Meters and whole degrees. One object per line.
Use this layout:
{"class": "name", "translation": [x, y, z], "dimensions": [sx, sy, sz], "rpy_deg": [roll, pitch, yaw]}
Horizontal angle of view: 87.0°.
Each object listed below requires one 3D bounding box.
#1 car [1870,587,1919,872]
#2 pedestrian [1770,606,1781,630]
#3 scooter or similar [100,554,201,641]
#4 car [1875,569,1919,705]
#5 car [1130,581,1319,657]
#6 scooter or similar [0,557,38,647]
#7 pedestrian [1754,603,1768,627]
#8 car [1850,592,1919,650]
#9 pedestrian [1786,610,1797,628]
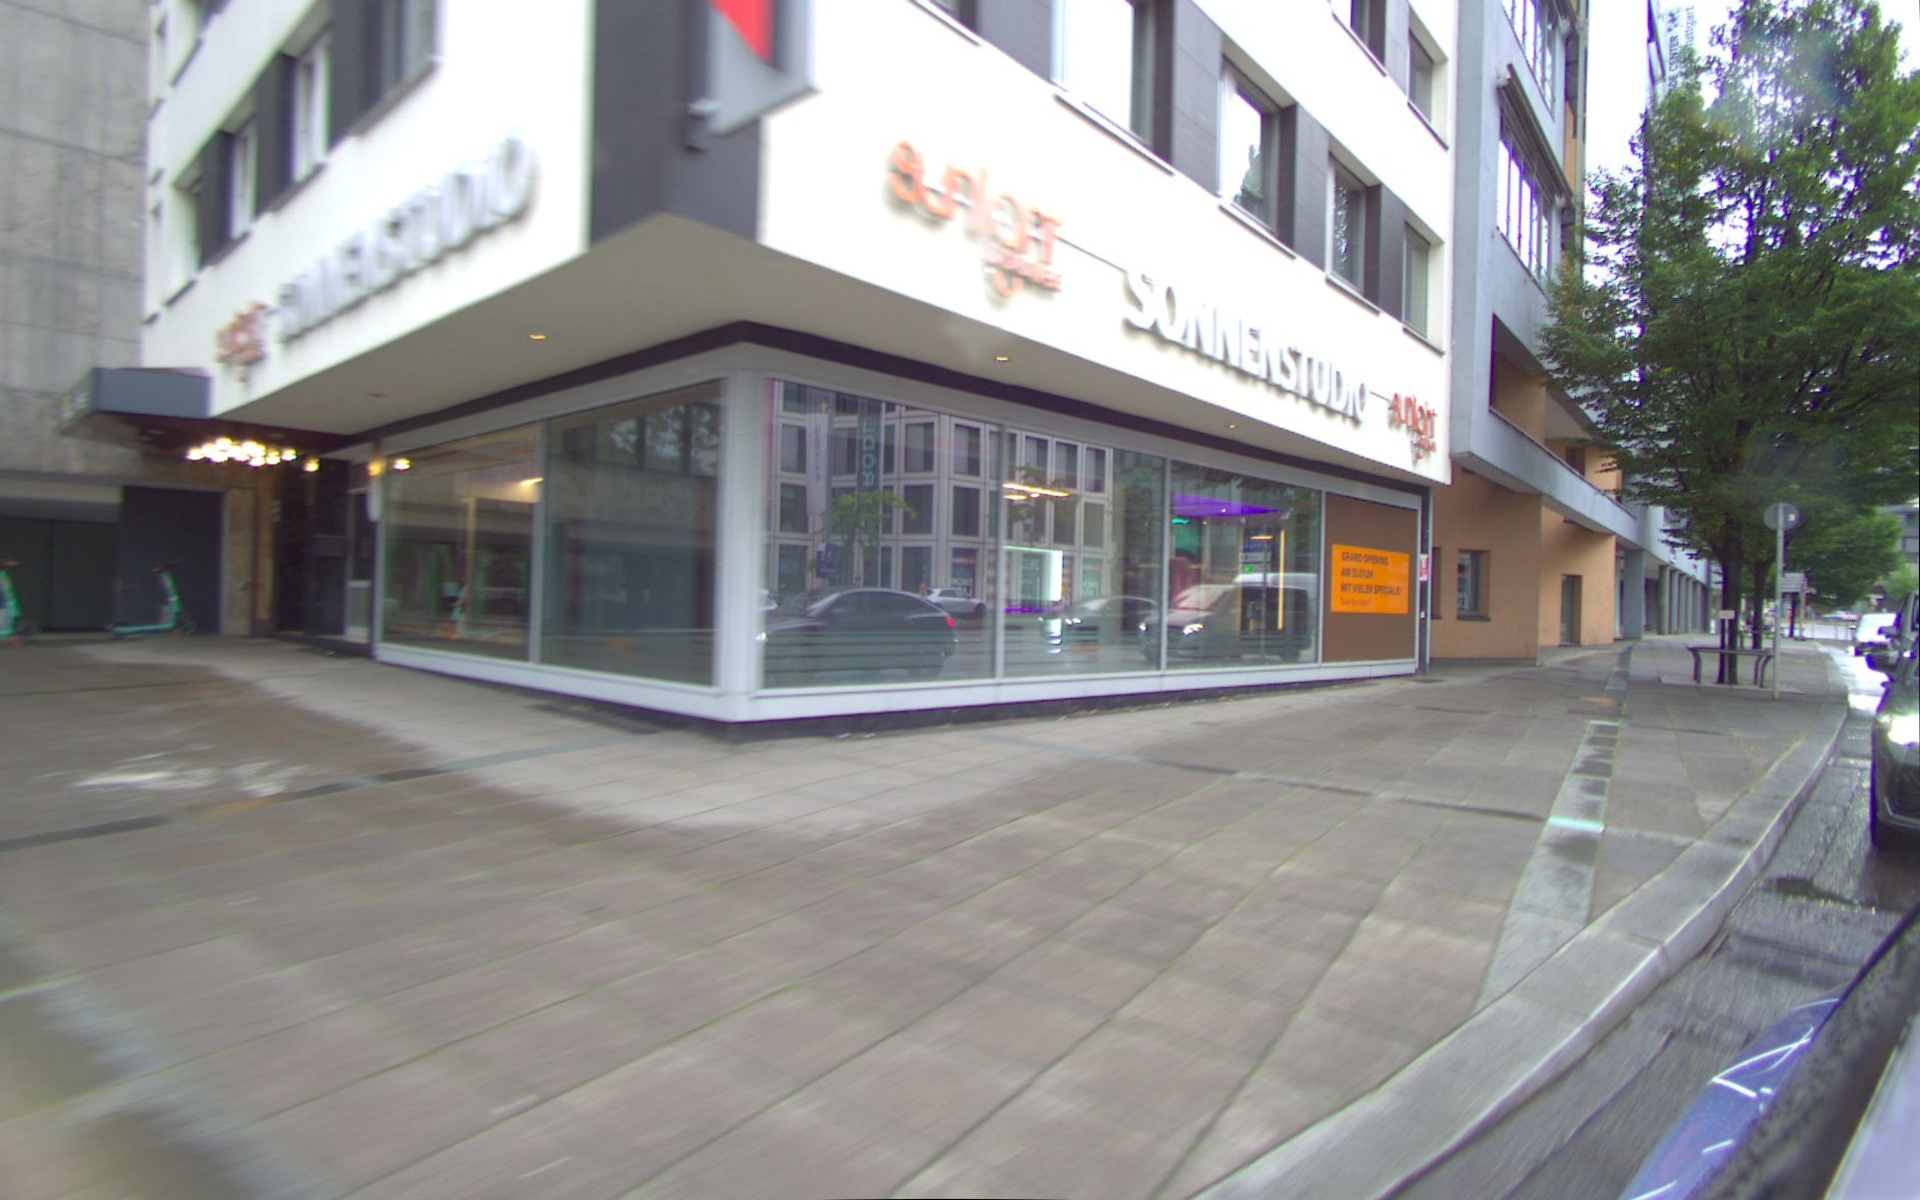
{"class": "car", "translation": [7.380, 0.692, 6.462], "dimensions": [4.311, 1.572, 1.800], "rpy_deg": [-1, 0, -41]}
{"class": "pedestrian", "translation": [61.198, 1.362, 75.943], "dimensions": [0.638, 1.805, 0.867], "rpy_deg": [-1, -2, 41]}
{"class": "scooter or similar", "translation": [-13.076, -0.048, 16.373], "dimensions": [0.517, 1.354, 1.212], "rpy_deg": [-1, -1, 41]}
{"class": "car", "translation": [15.636, 0.501, 15.650], "dimensions": [2.052, 1.916, 4.974], "rpy_deg": [-1, 0, 41]}
{"class": "car", "translation": [6.411, 0.399, 24.242], "dimensions": [4.841, 1.629, 1.997], "rpy_deg": [-1, 0, -41]}
{"class": "scooter or similar", "translation": [-13.939, 0.026, 14.356], "dimensions": [0.563, 1.269, 1.212], "rpy_deg": [2, 2, 41]}
{"class": "pedestrian", "translation": [60.019, 1.108, 75.876], "dimensions": [0.790, 1.805, 0.882], "rpy_deg": [-1, -2, 38]}
{"class": "car", "translation": [33.159, 0.692, 36.019], "dimensions": [2.051, 1.916, 4.976], "rpy_deg": [-1, 0, 40]}
{"class": "pedestrian", "translation": [77.452, 1.788, 94.295], "dimensions": [0.650, 1.618, 1.045], "rpy_deg": [-1, -1, 35]}
